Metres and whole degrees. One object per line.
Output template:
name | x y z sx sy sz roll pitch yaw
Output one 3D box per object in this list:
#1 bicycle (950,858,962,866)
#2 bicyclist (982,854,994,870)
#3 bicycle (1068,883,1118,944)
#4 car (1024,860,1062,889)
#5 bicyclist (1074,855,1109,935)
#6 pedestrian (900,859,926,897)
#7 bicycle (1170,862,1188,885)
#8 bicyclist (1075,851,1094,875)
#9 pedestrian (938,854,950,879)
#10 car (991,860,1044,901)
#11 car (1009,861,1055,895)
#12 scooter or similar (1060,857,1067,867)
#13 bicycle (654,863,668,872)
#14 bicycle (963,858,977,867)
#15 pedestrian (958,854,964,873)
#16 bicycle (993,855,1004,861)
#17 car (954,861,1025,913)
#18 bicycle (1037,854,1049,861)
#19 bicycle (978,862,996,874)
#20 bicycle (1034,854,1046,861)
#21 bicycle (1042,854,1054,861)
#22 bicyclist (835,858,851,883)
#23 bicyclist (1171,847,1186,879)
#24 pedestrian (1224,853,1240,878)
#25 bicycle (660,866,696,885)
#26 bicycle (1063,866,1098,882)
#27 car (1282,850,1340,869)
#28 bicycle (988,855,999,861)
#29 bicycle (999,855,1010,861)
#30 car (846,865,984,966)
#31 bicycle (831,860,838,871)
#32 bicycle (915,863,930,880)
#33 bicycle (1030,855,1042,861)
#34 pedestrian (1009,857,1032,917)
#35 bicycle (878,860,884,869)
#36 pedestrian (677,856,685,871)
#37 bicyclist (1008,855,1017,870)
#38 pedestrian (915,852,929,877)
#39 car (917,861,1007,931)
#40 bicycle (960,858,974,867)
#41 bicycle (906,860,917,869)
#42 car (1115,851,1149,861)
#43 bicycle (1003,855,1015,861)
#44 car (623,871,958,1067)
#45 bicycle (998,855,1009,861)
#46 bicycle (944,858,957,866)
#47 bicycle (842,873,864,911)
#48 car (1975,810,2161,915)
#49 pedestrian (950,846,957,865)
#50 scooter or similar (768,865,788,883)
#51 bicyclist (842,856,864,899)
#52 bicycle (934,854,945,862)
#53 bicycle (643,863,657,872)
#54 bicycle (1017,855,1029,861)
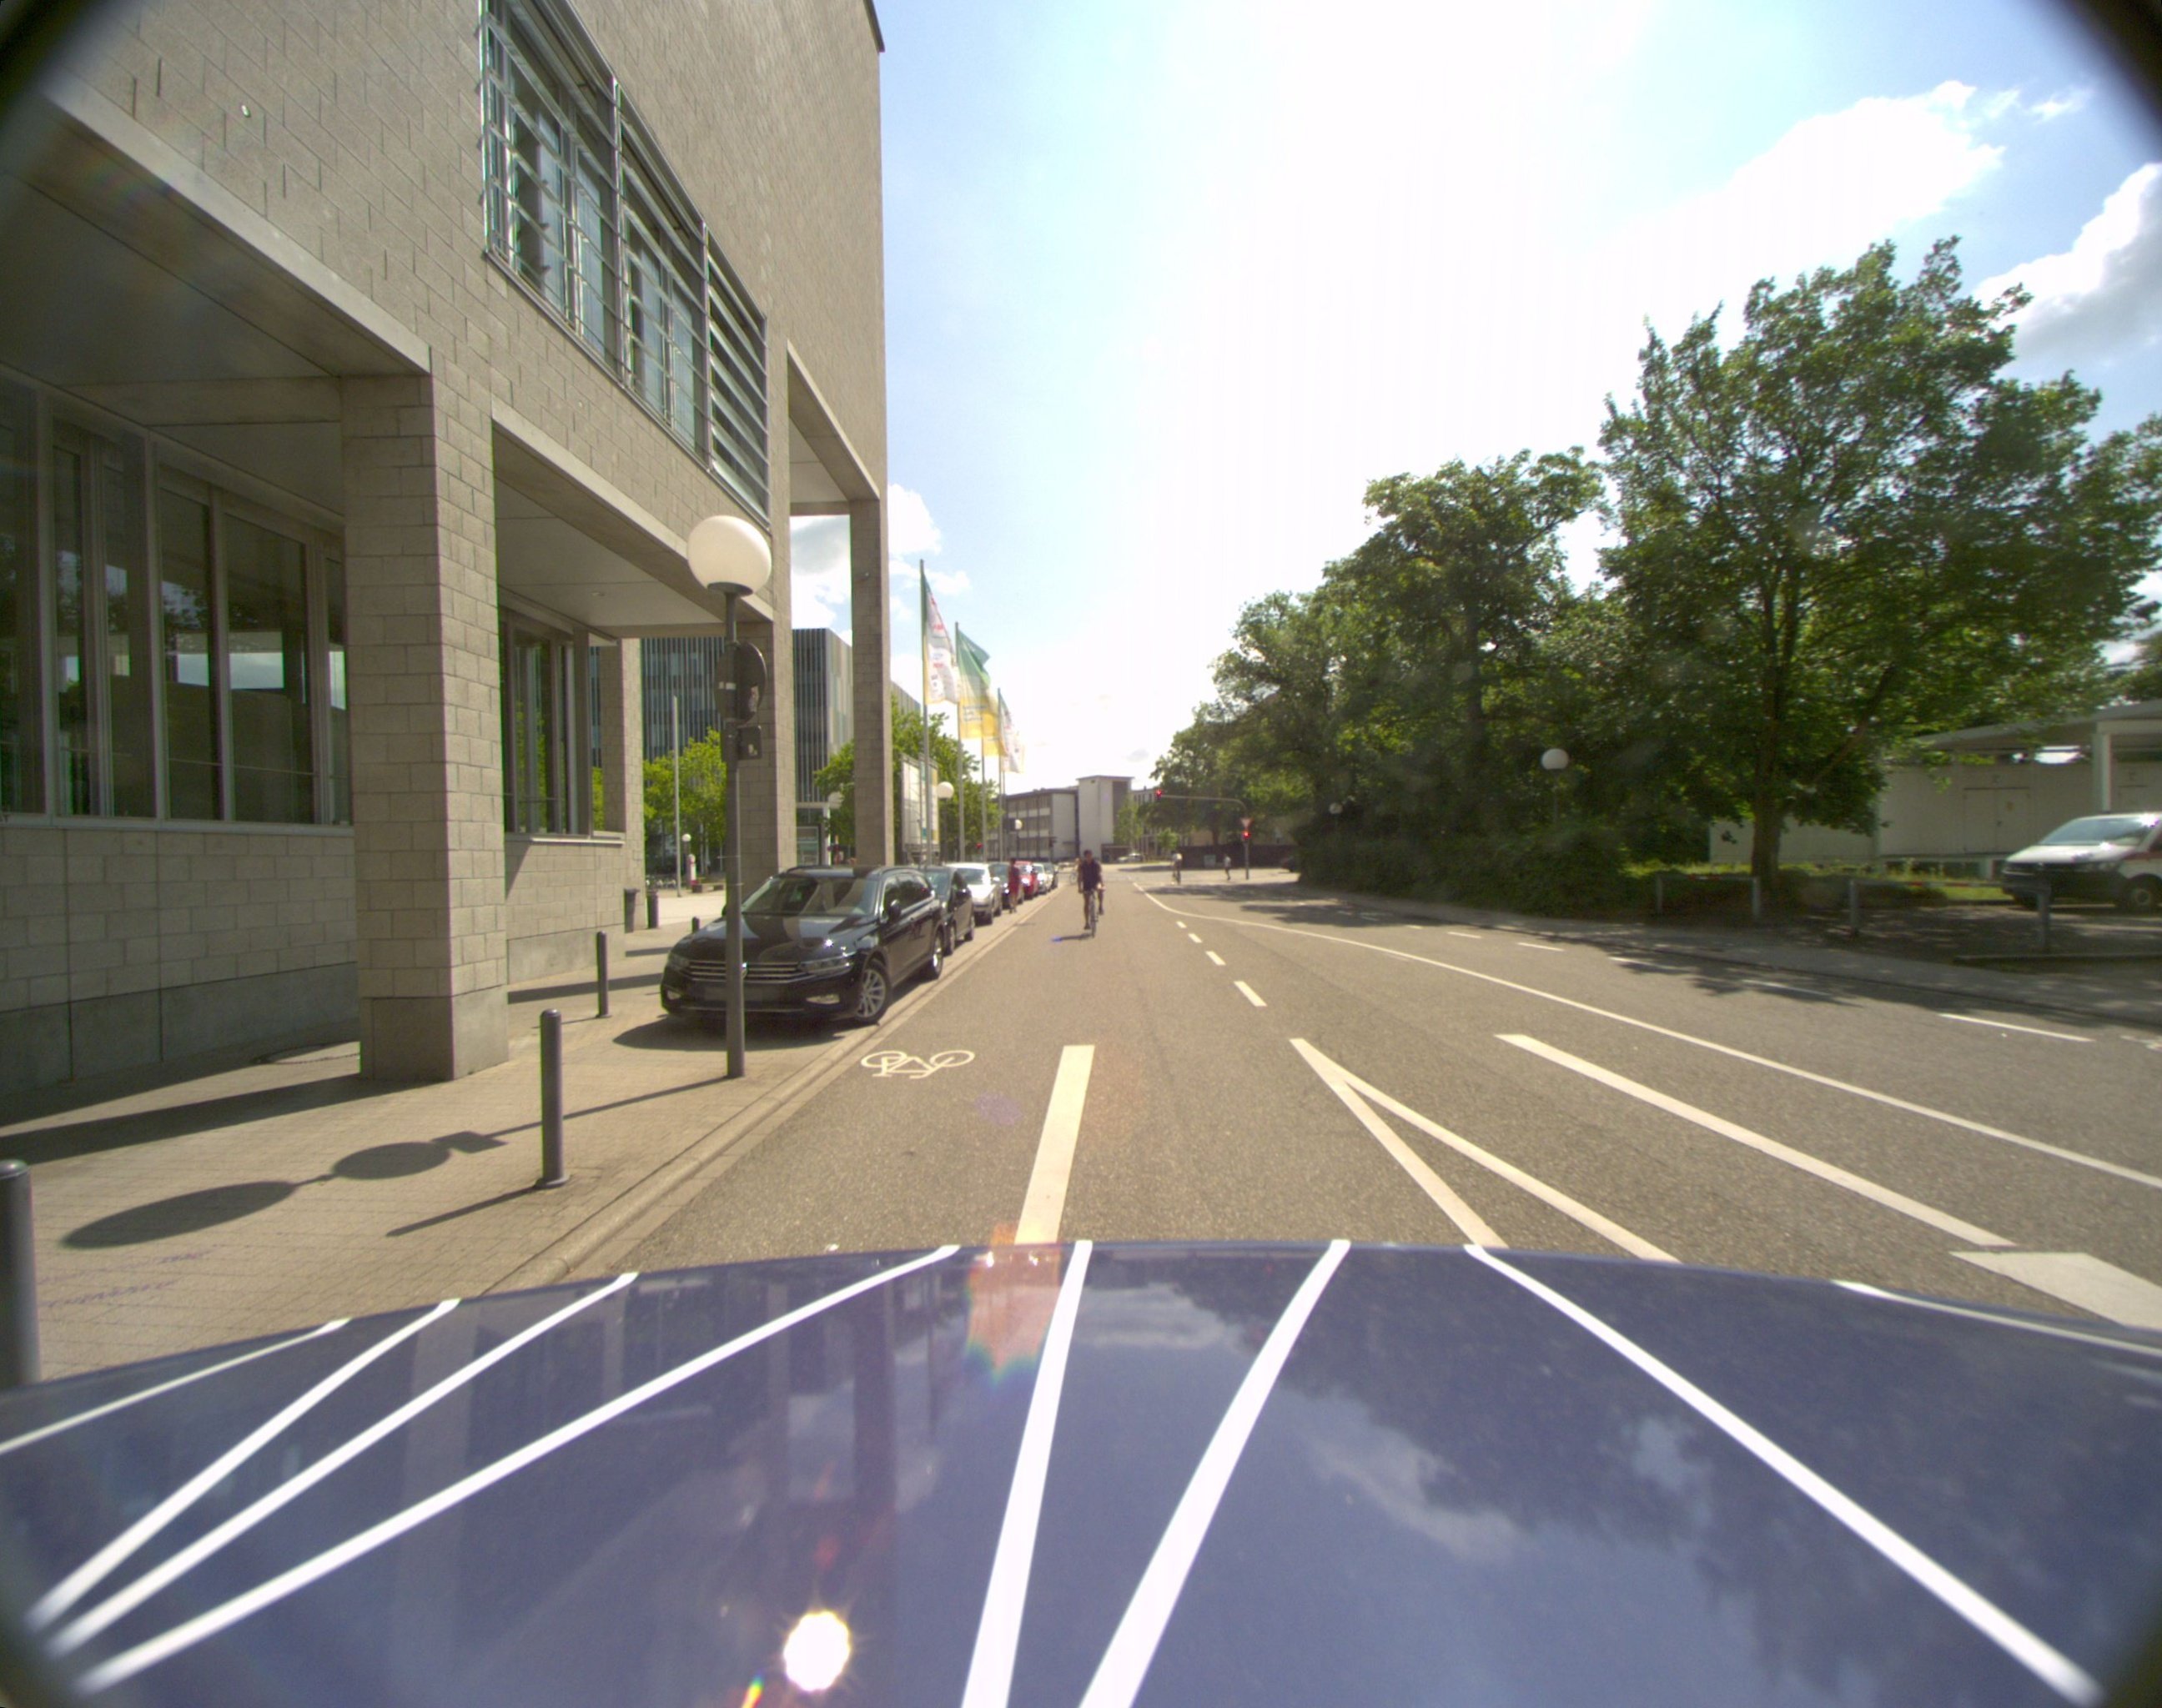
bicycle | -15.903 1.031 96.699 1.768 0.950 0.530 0 2 40
bicyclist | -9.494 0.845 77.399 1.001 1.606 0.656 -2 1 -27
bicycle | 0.212 1.185 15.664 0.903 1.072 2.154 -1 0 -3
car | -2.040 1.080 41.885 1.722 1.392 4.949 1 0 2
bicyclist | 0.204 0.811 15.423 0.662 1.555 0.933 -1 0 -2
pedestrian | -7.724 1.098 35.022 0.920 1.730 1.001 -1 1 1
bicycle | 5.416 1.050 42.026 0.694 1.164 2.209 -1 1 1
bicyclist | 0.226 0.580 48.467 1.015 1.539 0.696 0 1 36
pedestrian | -10.073 0.922 56.022 0.594 1.789 0.612 -2 -1 25
car | -2.519 1.025 31.003 1.618 1.488 4.147 1 0 2
car | -2.247 1.083 35.762 1.722 1.392 4.439 2 0 2
scooter or similar | -1.900 0.904 82.254 0.403 1.060 1.149 -2 1 -25
bicycle | -48.998 1.591 88.664 0.373 0.950 1.548 0 2 17
bicycle | -12.882 0.978 88.358 1.768 0.950 0.530 0 2 40
pedestrian | -11.597 0.929 73.567 0.575 1.831 0.415 -1 2 -8
bicycle | -13.857 0.688 127.350 1.776 0.950 0.528 -1 3 -26
car | -2.905 1.018 24.941 1.723 1.520 4.000 -1 0 2
bicycle | -5.798 0.537 115.071 1.776 0.950 0.528 -1 3 -26
bicycle | -9.548 1.449 77.372 1.673 1.118 0.694 -2 1 -26
bicycle | -6.305 0.563 115.921 1.776 0.950 0.528 -1 3 -26
bicycle | -4.980 0.564 114.022 1.775 0.950 0.528 -1 3 -24
bicyclist | -14.868 1.025 47.424 0.682 1.559 0.879 -1 -1 1
bicyclist | 5.387 0.502 42.082 0.694 1.727 0.918 -1 1 1
pedestrian | 10.147 0.765 51.001 0.930 1.690 0.854 -1 0 5
bicycle | -26.428 1.424 49.880 2.027 1.176 0.800 0 2 12
bicycle | -0.017 1.257 48.688 2.203 0.983 0.797 0 1 37
car | 18.242 0.442 60.475 4.185 1.408 1.831 -1 1 8
bicycle | -14.840 0.712 129.003 1.776 0.950 0.528 -1 3 -26
bicycle | -12.605 0.632 125.444 1.776 0.950 0.528 -1 3 -26
car | -2.847 0.988 13.886 1.618 1.488 4.006 -1 0 0
bicycle | -28.439 1.283 87.673 0.373 1.180 1.546 0 2 0
bicycle | -11.580 1.267 55.621 0.818 1.067 1.889 0 3 -5
bicycle | -6.874 0.579 117.084 1.776 0.950 0.528 -1 3 -26
pedestrian | -1.787 0.943 22.398 0.624 1.707 1.040 -1 1 -3
bicycle | -23.963 1.233 91.020 0.529 0.950 1.770 -1 1 -18
pedestrian | -47.749 1.113 90.668 0.554 1.831 0.561 -1 2 -6
bicyclist | -7.051 0.835 78.436 0.787 1.529 0.656 -2 1 -23
pedestrian | -11.656 0.758 55.626 0.856 1.810 1.175 -1 2 -6
car | -2.933 0.985 19.654 1.724 1.520 4.565 1 0 -2
bicycle | -13.219 0.989 87.863 1.768 0.950 0.530 0 2 40
bicycle | -20.764 1.303 93.192 0.530 0.950 1.768 -6 5 -41
car | 7.373 0.275 109.917 4.501 1.299 1.995 -2 3 -30
bicycle | -11.772 0.653 123.921 1.776 0.950 0.528 -1 3 -26
car | -2.729 0.986 8.442 1.871 1.456 4.520 -1 0 1
bicycle | -12.821 0.659 125.839 1.776 0.950 0.528 -1 3 -26
bicycle | -16.494 1.051 96.215 1.768 0.950 0.530 0 2 40
bicycle | -7.127 1.170 23.747 0.608 1.131 1.586 -1 -1 -18
car | 21.700 0.102 15.249 4.931 1.975 2.000 -1 2 3
pedestrian | -12.311 0.159 73.449 0.633 1.831 0.479 -1 2 -13
scooter or similar | -20.116 1.345 50.462 1.191 1.159 0.353 -1 3 2
bicyclist | -7.133 0.734 23.768 0.608 1.312 0.741 -1 -1 -18
bicycle | -17.680 0.531 94.842 0.530 0.950 1.768 -2 2 -44
bicycle | -50.200 1.578 88.491 0.373 0.950 1.548 0 2 17
bicycle | -9.115 0.615 119.950 1.776 0.950 0.528 -1 3 -26
